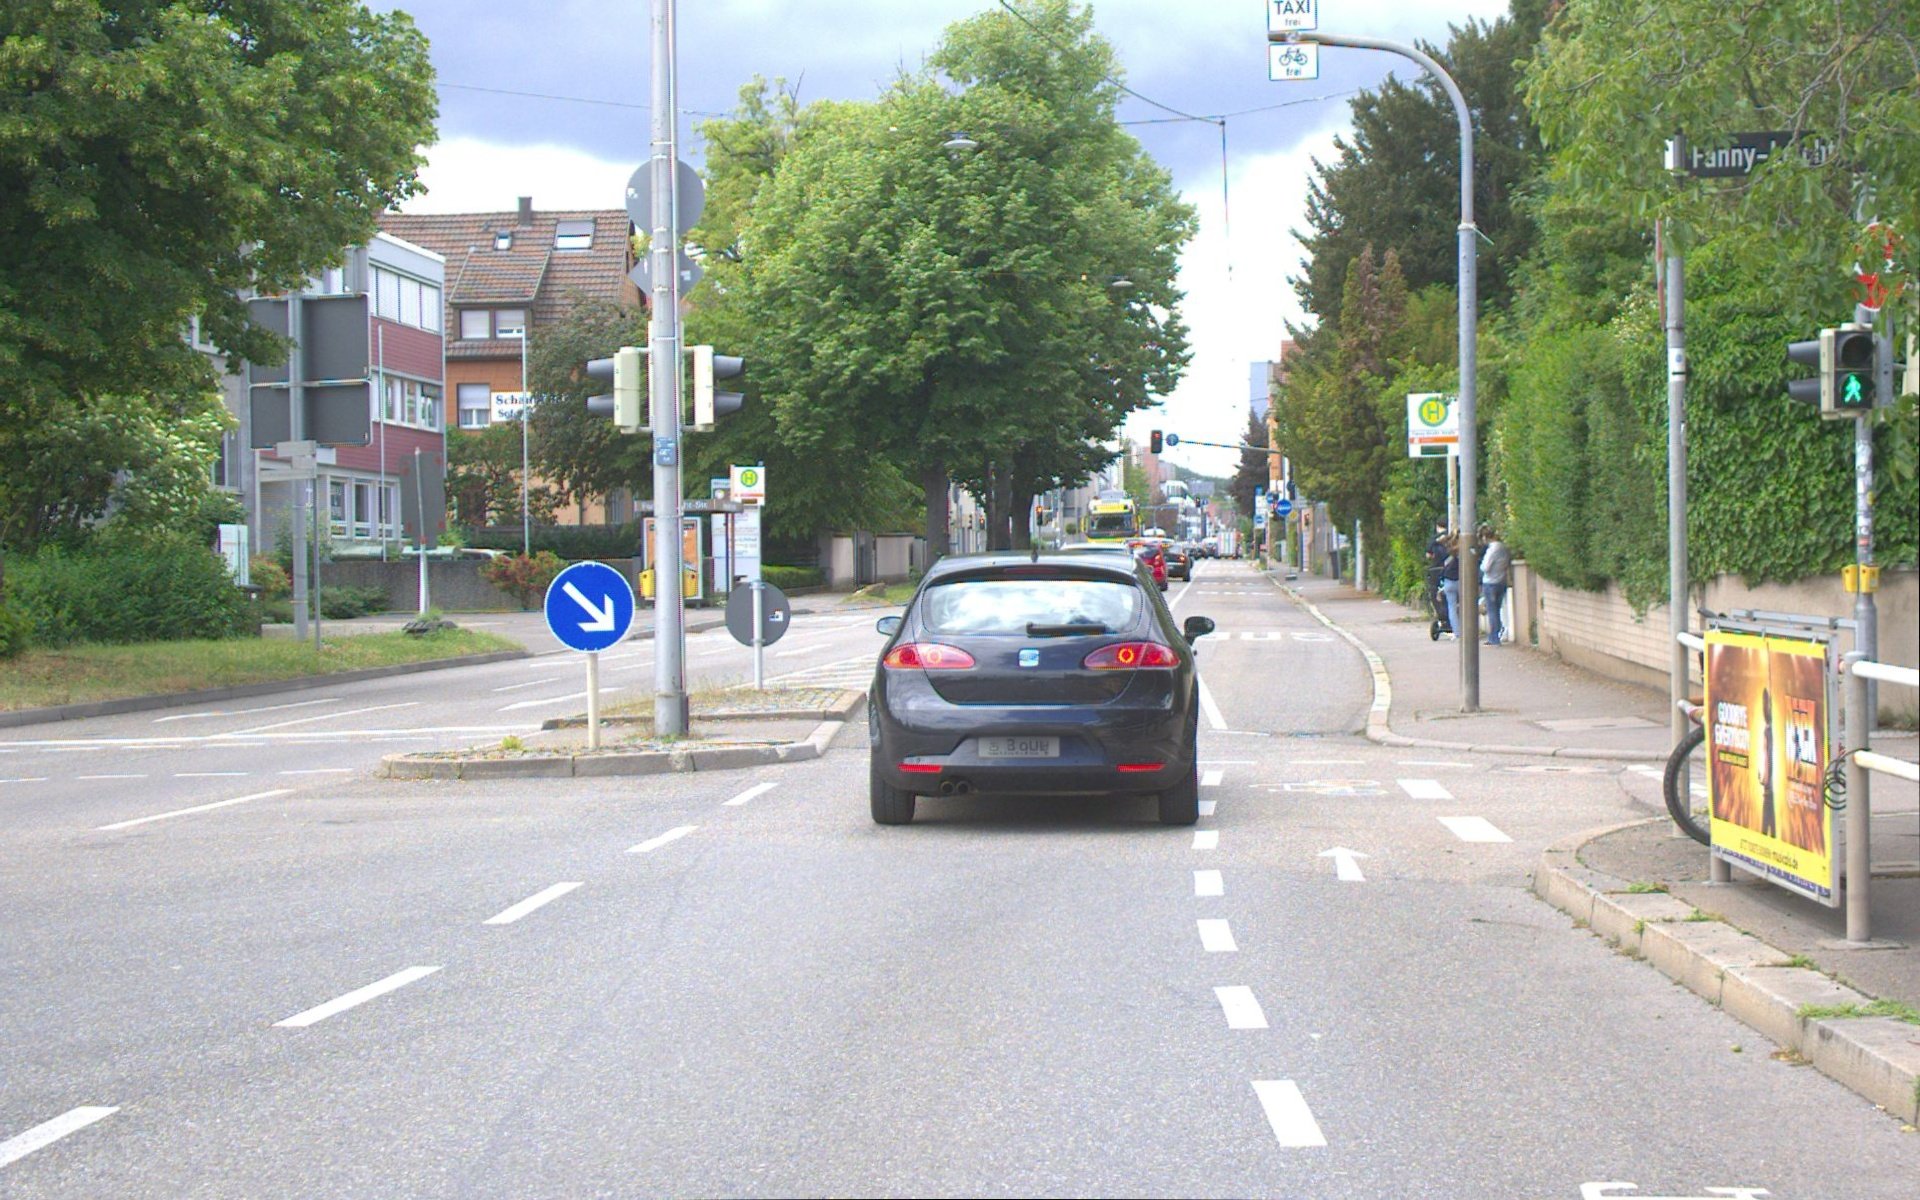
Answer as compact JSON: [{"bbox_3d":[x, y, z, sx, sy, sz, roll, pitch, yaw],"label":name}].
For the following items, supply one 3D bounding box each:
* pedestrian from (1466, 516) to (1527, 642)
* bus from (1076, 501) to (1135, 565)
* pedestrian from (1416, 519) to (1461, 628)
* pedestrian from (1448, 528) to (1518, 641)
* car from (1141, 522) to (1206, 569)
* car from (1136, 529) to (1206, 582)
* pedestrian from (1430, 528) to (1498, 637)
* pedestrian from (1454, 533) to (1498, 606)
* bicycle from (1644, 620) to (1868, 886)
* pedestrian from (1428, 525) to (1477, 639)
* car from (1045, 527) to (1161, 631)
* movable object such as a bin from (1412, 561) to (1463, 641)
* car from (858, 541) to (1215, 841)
[{"bbox_3d":[6.814,-0.269,43.679,0.543,1.550,0.471,-5,1,-4],"label":"pedestrian"},{"bbox_3d":[7.389,-3.405,173.831,2.869,3.125,6.397,-1,1,3],"label":"bus"},{"bbox_3d":[7.620,-0.428,54.758,0.585,1.706,0.529,-3,1,3],"label":"pedestrian"},{"bbox_3d":[6.868,-0.202,45.132,0.621,1.422,0.511,-3,2,42],"label":"pedestrian"},{"bbox_3d":[7.979,-2.049,128.258,1.994,1.678,3.999,-1,1,10],"label":"car"},{"bbox_3d":[6.317,-1.362,103.334,1.941,1.476,4.253,-2,2,2],"label":"car"},{"bbox_3d":[7.113,-0.250,48.524,0.780,1.495,0.605,-3,1,-1],"label":"pedestrian"},{"bbox_3d":[7.040,-0.418,46.893,0.454,0.961,0.383,-5,1,-2],"label":"pedestrian"},{"bbox_3d":[3.347,0.618,14.565,0.628,1.025,1.504,-1,1,2],"label":"bicycle"},{"bbox_3d":[6.700,-0.246,46.752,0.550,1.512,0.361,-3,2,13],"label":"pedestrian"},{"bbox_3d":[2.576,-0.400,61.111,1.819,1.693,4.252,-2,2,5],"label":"car"},{"bbox_3d":[6.614,0.009,47.621,0.441,1.054,0.567,-4,2,30],"label":"movable object such as a bin"},{"bbox_3d":[0.397,0.424,19.076,1.759,1.444,3.714,1,1,0],"label":"car"}]
